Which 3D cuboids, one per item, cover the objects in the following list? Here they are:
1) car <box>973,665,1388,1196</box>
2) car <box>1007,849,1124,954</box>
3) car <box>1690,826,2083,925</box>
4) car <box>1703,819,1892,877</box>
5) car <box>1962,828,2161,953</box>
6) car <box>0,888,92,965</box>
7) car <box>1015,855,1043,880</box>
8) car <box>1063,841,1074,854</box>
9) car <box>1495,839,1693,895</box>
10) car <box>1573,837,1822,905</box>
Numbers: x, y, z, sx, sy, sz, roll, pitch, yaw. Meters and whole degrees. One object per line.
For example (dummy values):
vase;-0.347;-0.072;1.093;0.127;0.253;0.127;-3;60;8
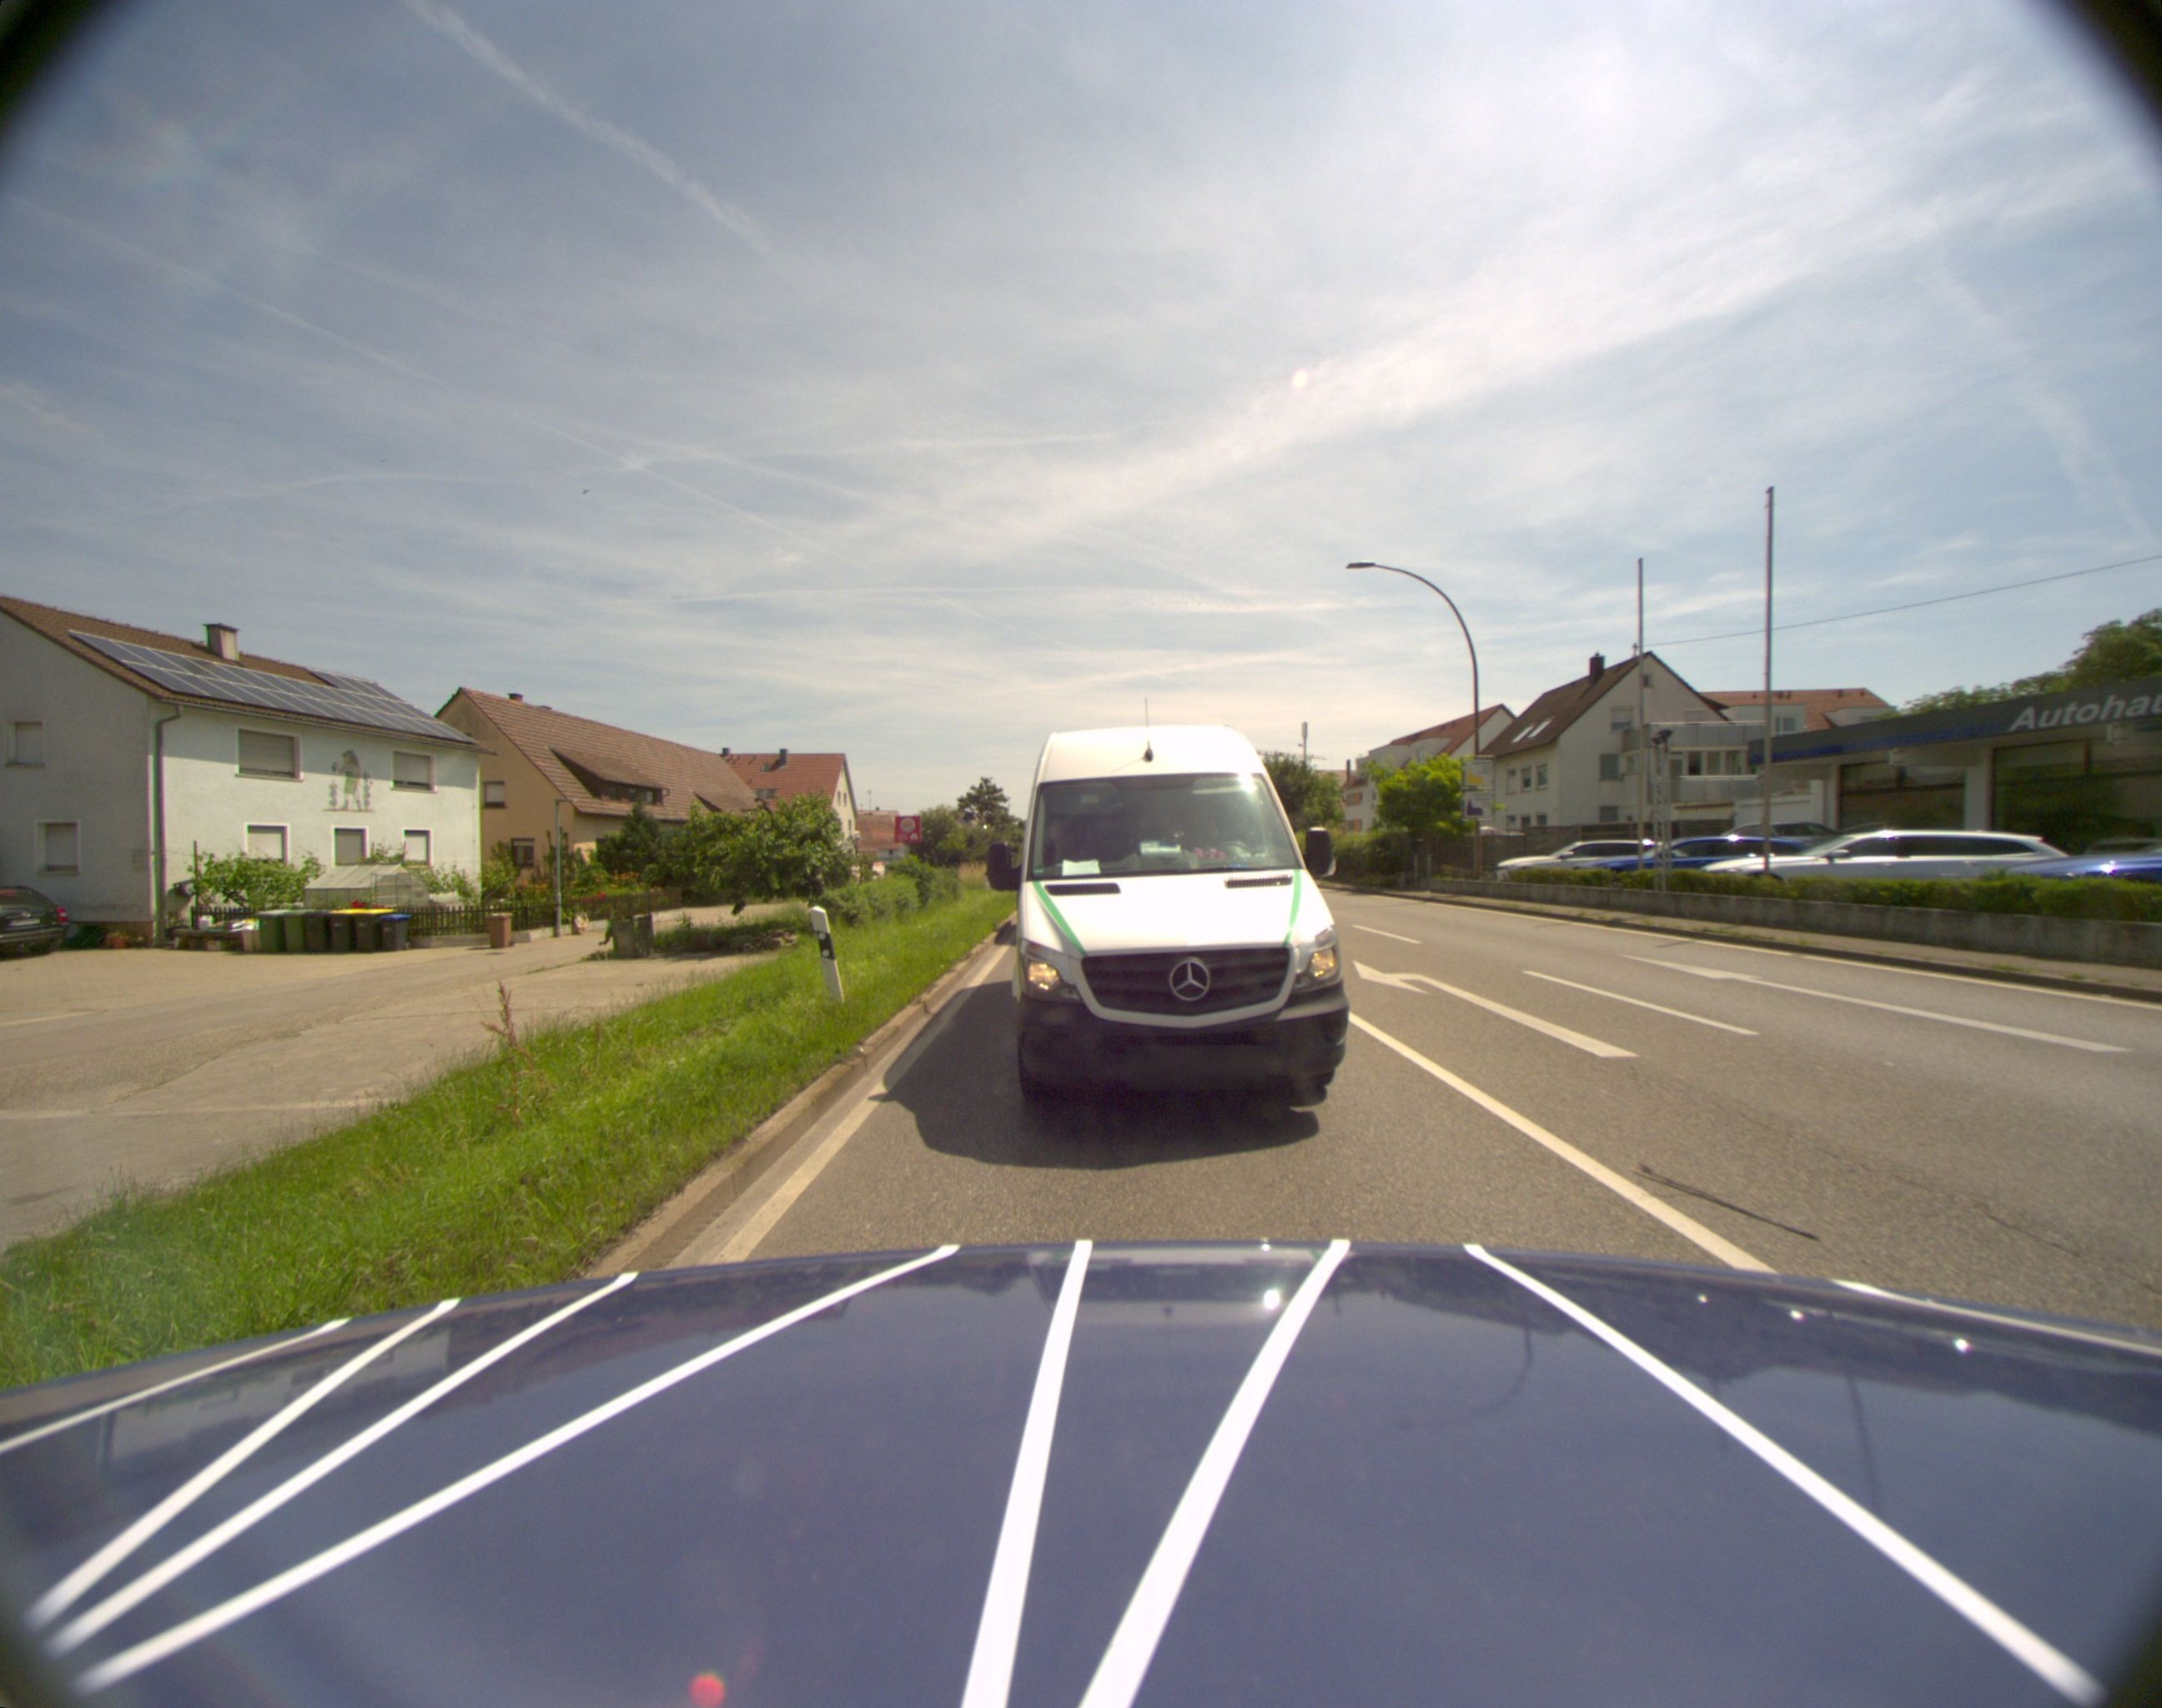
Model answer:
car;0.482;0.360;6.543;1.939;2.514;5.748;-2;0;0
car;-0.280;0.798;15.197;1.884;1.652;4.625;-4;0;0
car;14.128;0.409;13.798;4.505;1.439;1.860;-4;0;30
car;20.829;-0.183;22.411;1.807;1.456;4.585;-2;0;10
car;14.490;0.399;9.385;4.331;1.439;1.860;-2;2;26
car;-26.691;1.707;18.093;3.957;1.683;1.844;0;2;3
car;-3.445;0.899;50.996;1.636;1.476;3.551;-4;1;-1
car;-2.691;-1.427;163.676;1.998;2.574;3.999;-2;1;0
car;14.597;0.376;21.974;4.568;1.439;1.860;-2;2;29
car;14.408;0.407;18.132;4.331;1.439;1.860;-2;2;29
